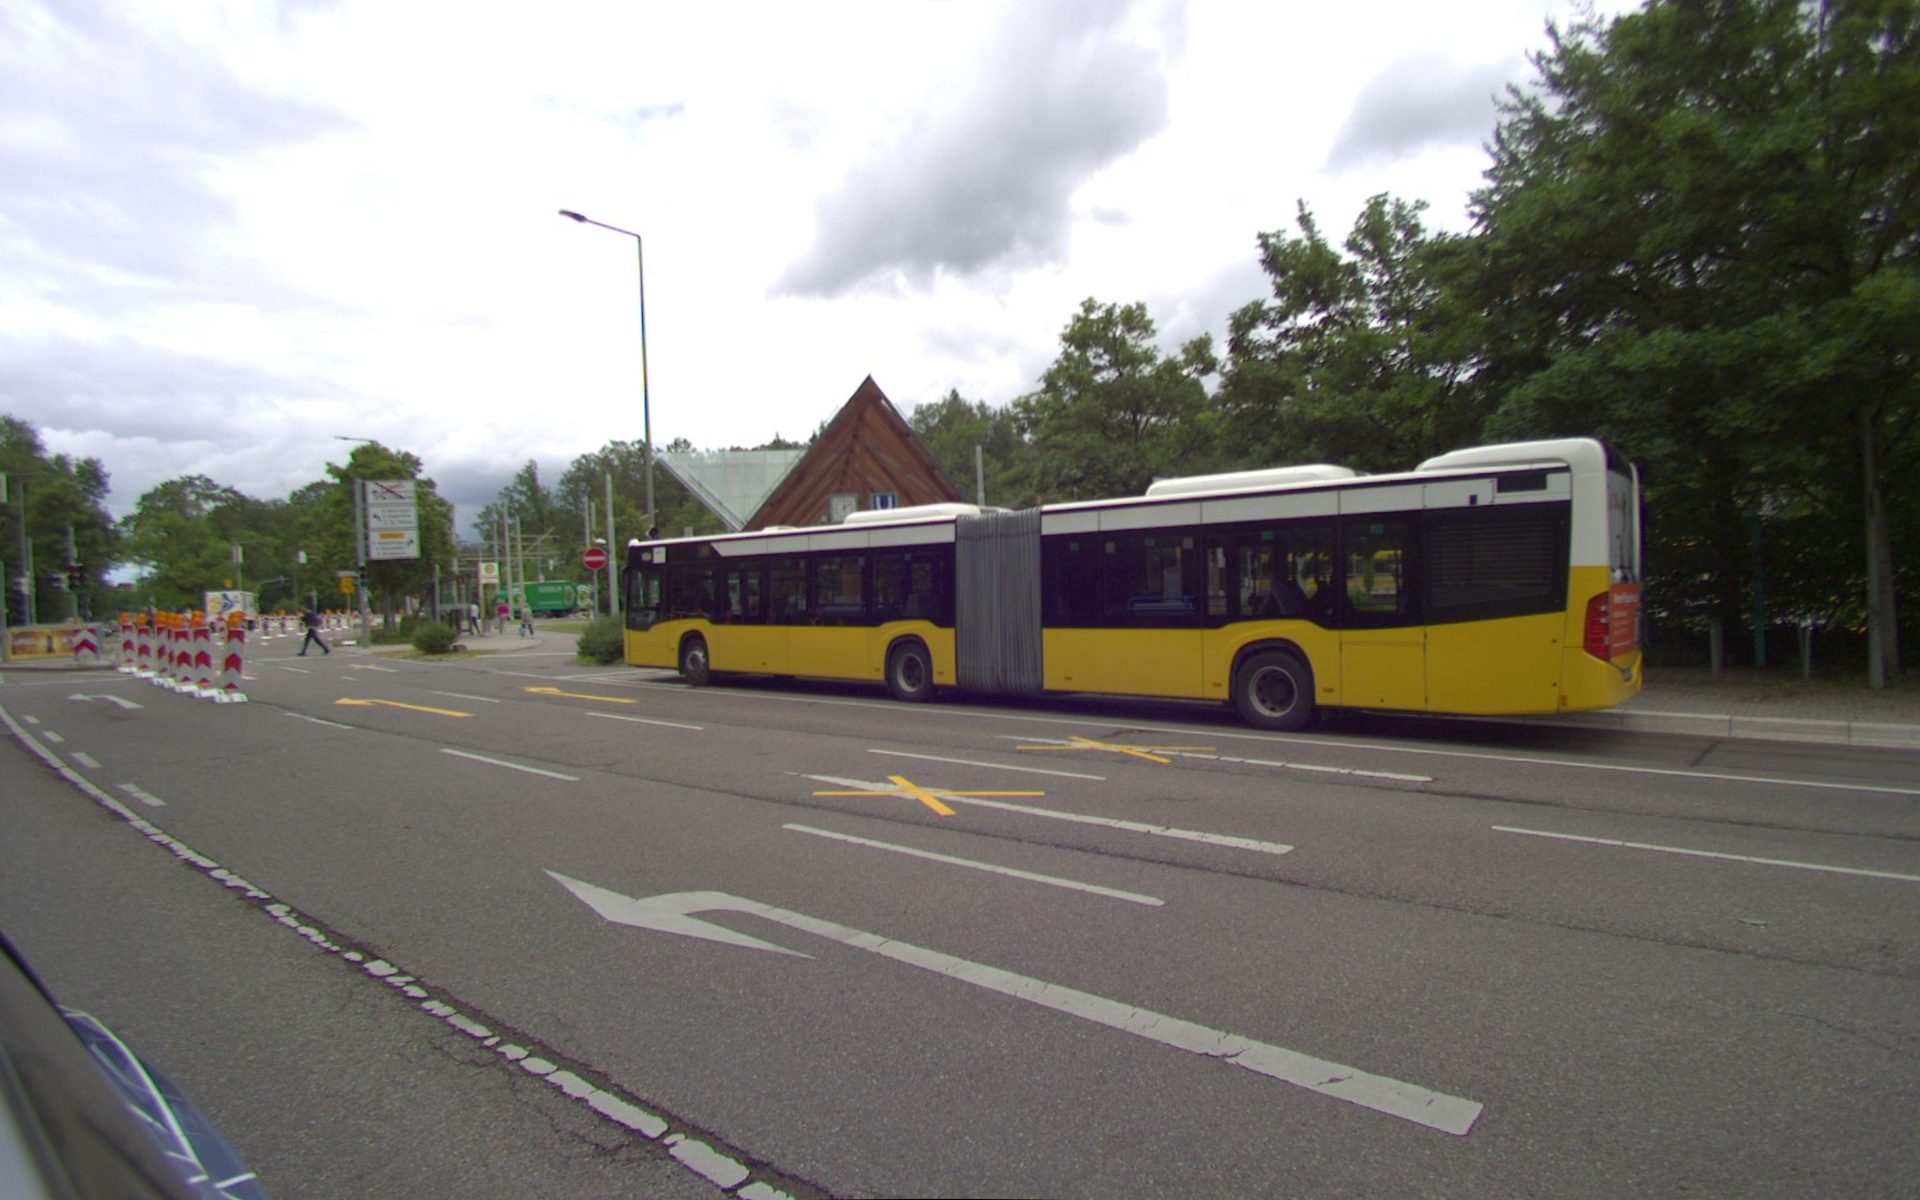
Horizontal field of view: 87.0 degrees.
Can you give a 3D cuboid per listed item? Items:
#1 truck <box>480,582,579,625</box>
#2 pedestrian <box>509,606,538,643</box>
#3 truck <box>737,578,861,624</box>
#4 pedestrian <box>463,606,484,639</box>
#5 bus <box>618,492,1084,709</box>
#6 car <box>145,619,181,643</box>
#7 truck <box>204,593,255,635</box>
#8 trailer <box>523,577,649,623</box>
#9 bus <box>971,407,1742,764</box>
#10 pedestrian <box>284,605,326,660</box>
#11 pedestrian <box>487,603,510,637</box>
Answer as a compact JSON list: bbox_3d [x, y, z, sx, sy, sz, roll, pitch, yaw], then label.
[{"bbox_3d":[-43.696,0.349,102.796,8.697,3.910,3.768,-3,1,17],"label":"truck"},{"bbox_3d":[-19.288,1.081,44.756,0.865,1.536,0.767,-3,1,6],"label":"pedestrian"},{"bbox_3d":[-8.802,0.067,55.242,6.263,2.186,2.587,-3,1,24],"label":"truck"},{"bbox_3d":[-23.853,1.082,49.635,0.764,1.557,0.630,-3,2,-36],"label":"pedestrian"},{"bbox_3d":[-2.551,0.078,19.026,9.755,3.150,2.868,-1,-1,41],"label":"bus"},{"bbox_3d":[-52.836,2.019,67.047,1.785,1.520,4.315,0,0,-40],"label":"car"},{"bbox_3d":[-58.548,1.100,81.226,2.592,3.263,6.225,0,-1,-29],"label":"truck"},{"bbox_3d":[-37.212,0.030,100.732,11.768,3.910,3.767,-3,1,18],"label":"trailer"},{"bbox_3d":[4.370,-0.071,12.913,8.690,3.150,2.868,-1,-1,41],"label":"bus"},{"bbox_3d":[-22.649,1.111,35.027,0.978,1.822,0.769,-3,1,-17],"label":"pedestrian"},{"bbox_3d":[-22.165,0.962,48.648,0.779,1.563,0.777,-3,1,-38],"label":"pedestrian"}]
